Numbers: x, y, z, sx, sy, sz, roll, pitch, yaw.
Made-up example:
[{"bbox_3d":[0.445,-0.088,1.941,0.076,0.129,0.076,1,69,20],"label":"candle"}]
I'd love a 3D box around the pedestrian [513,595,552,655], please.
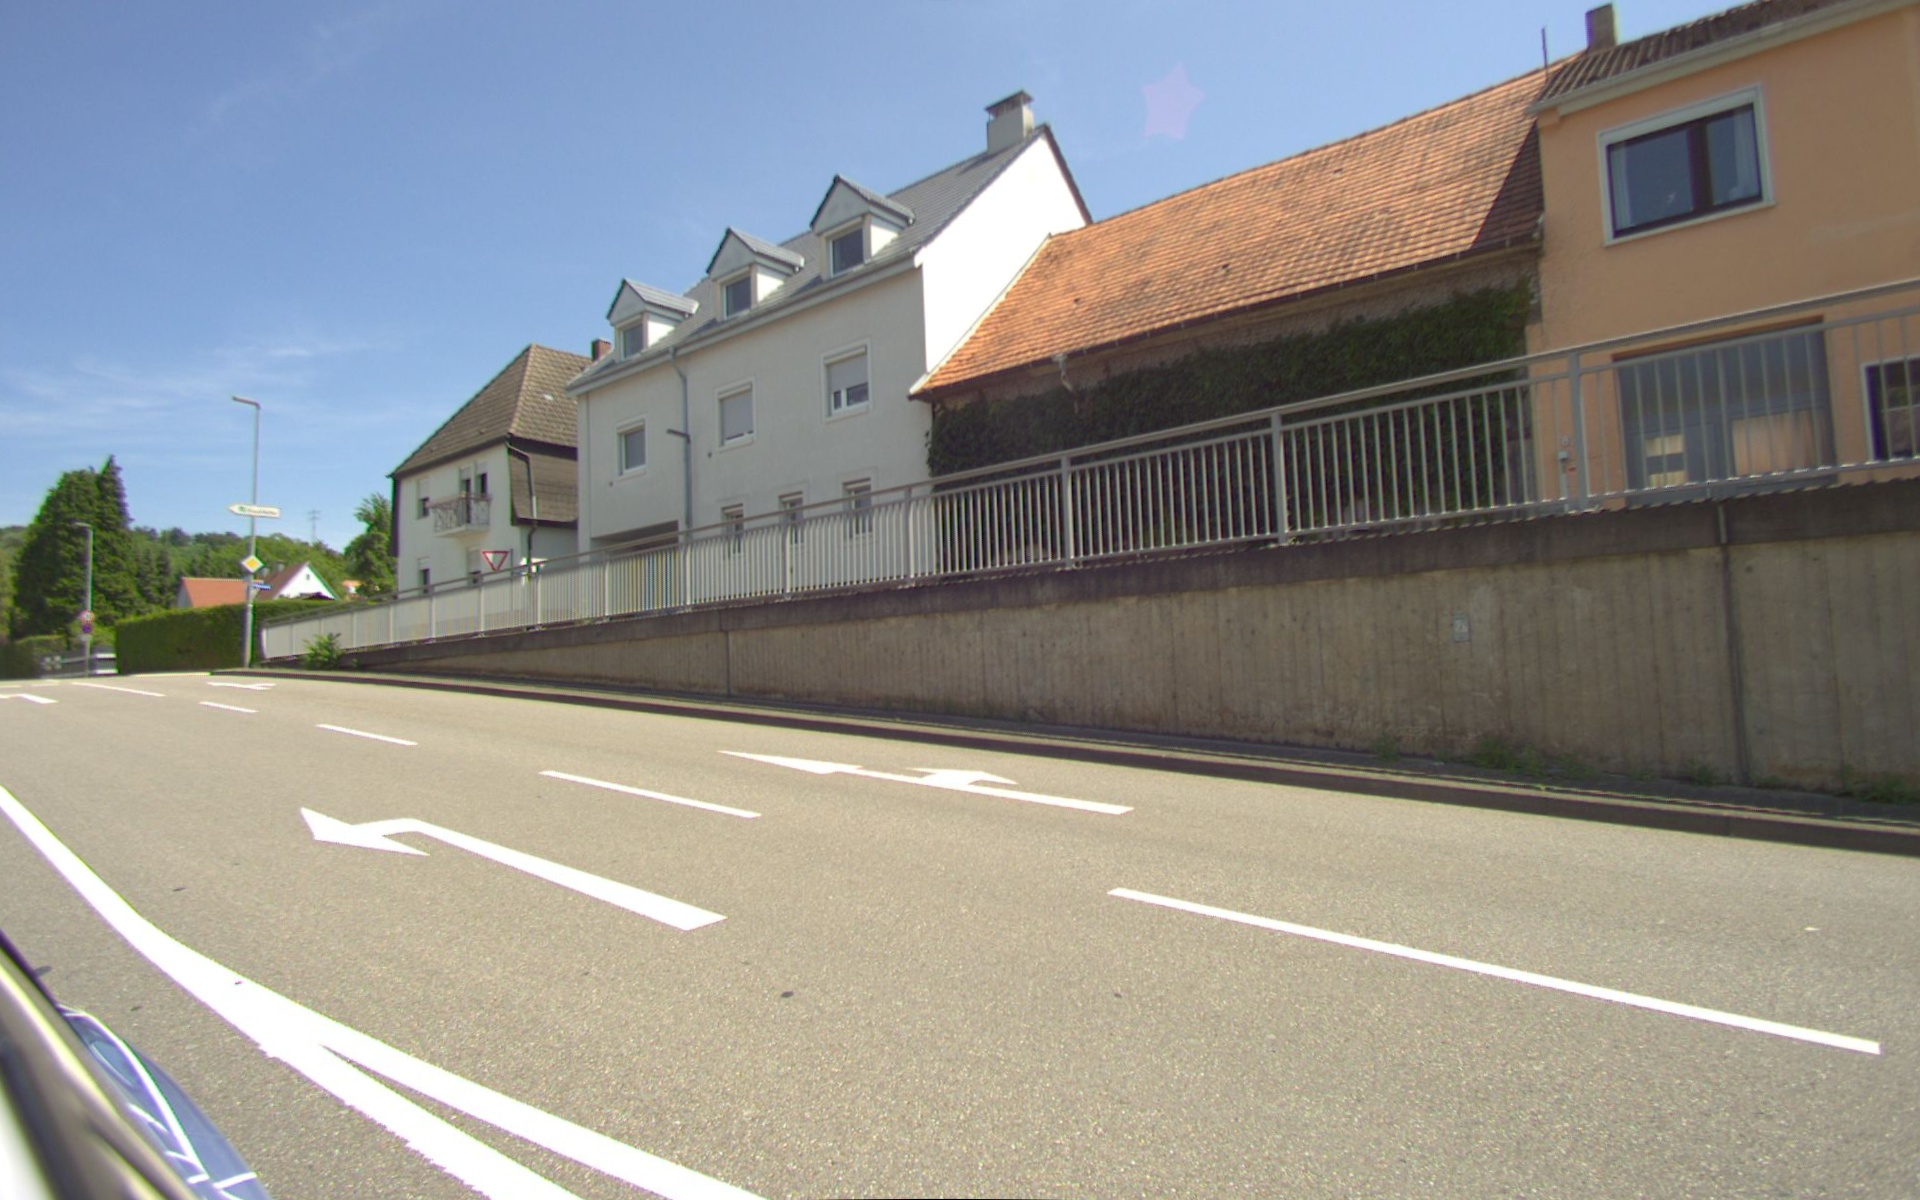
[{"bbox_3d":[-12.512,0.729,29.594,0.855,1.742,0.720,-2,-2,38],"label":"pedestrian"}]
